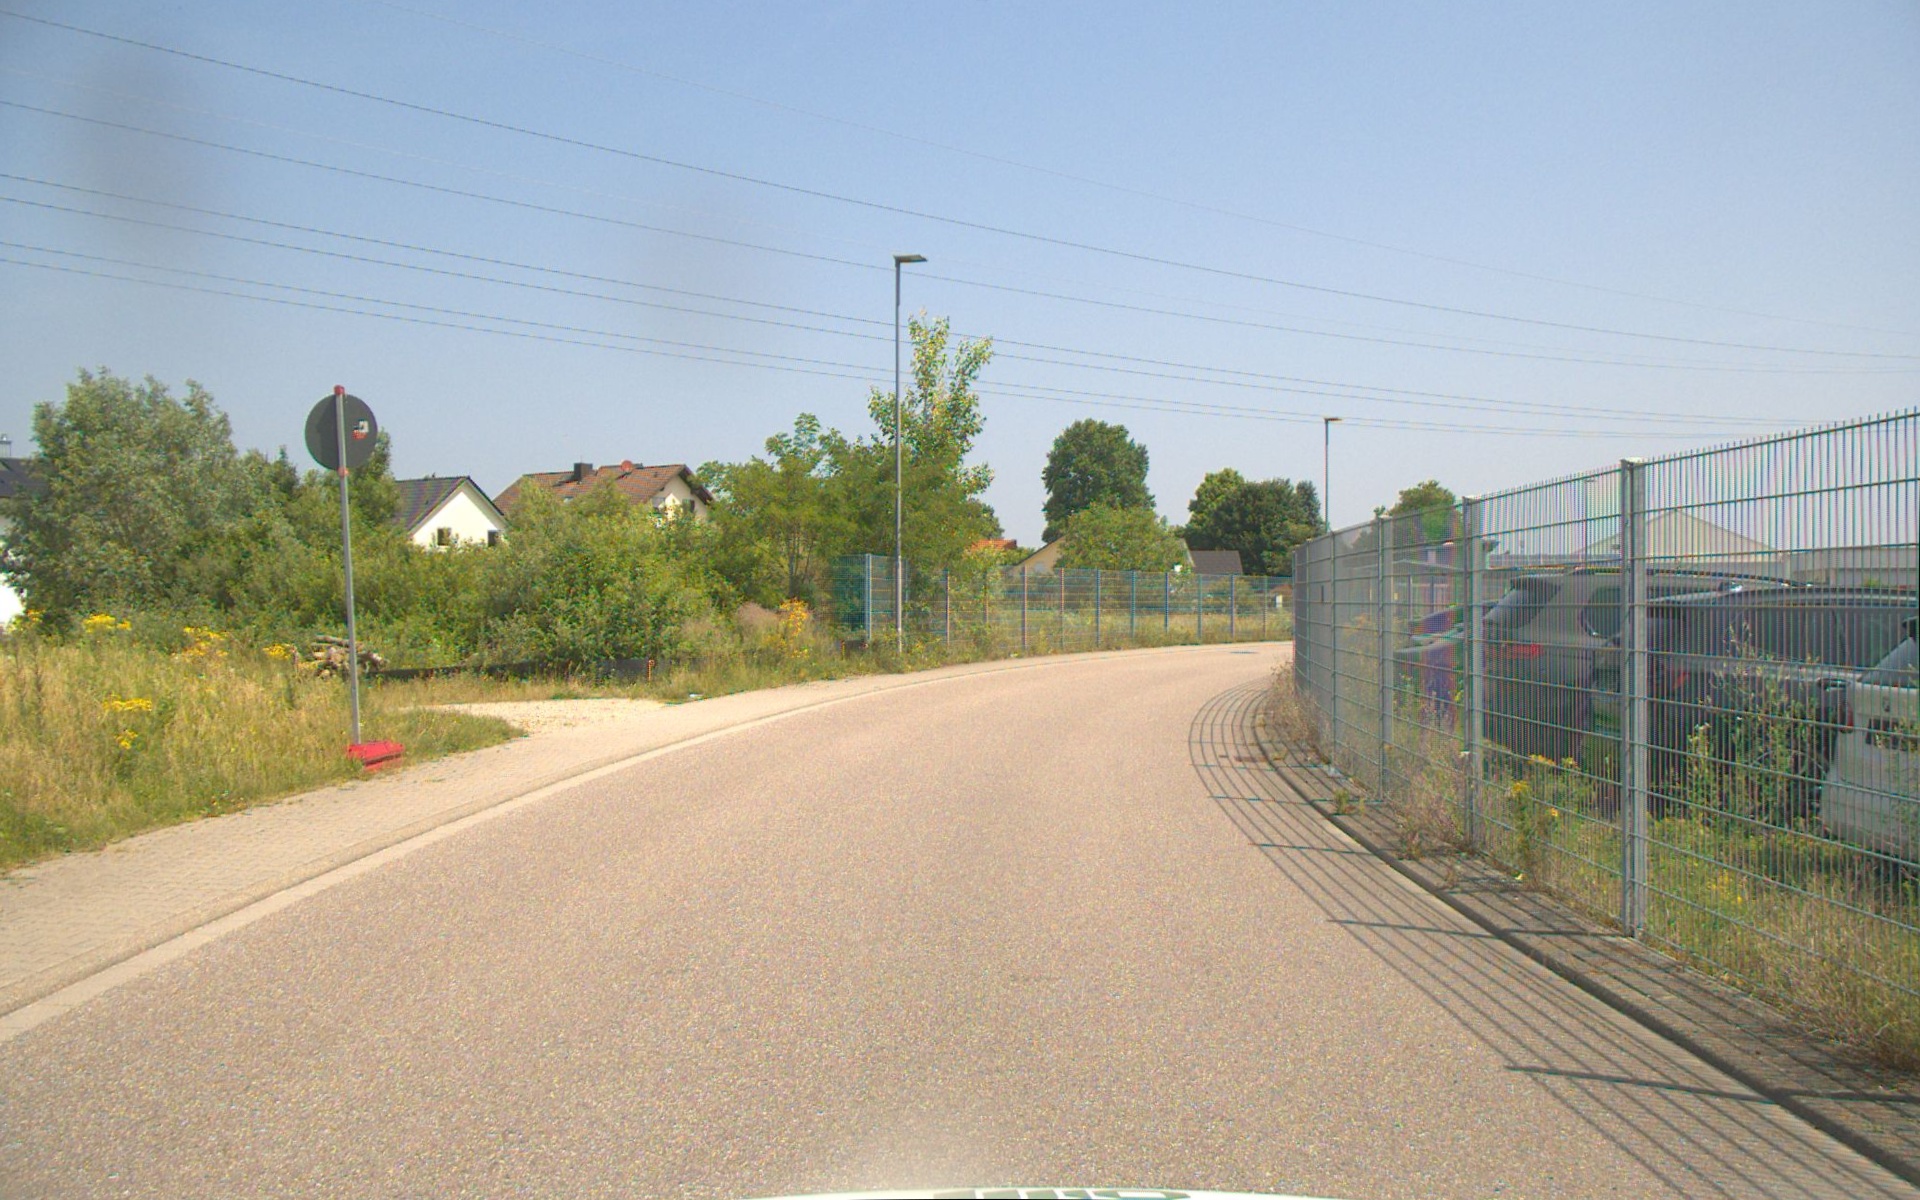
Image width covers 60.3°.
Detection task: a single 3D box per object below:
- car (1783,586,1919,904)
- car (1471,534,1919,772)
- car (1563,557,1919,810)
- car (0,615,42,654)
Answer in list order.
[{"bbox_3d":[6.132,0.640,8.145,3.392,1.442,1.517,-1,0,4],"label":"car"},{"bbox_3d":[6.687,0.398,13.448,4.586,1.800,1.744,-1,0,7],"label":"car"},{"bbox_3d":[6.625,0.525,11.566,4.205,1.631,1.693,-1,0,3],"label":"car"},{"bbox_3d":[-44.930,1.607,76.225,1.966,1.724,4.226,0,1,44],"label":"car"}]
